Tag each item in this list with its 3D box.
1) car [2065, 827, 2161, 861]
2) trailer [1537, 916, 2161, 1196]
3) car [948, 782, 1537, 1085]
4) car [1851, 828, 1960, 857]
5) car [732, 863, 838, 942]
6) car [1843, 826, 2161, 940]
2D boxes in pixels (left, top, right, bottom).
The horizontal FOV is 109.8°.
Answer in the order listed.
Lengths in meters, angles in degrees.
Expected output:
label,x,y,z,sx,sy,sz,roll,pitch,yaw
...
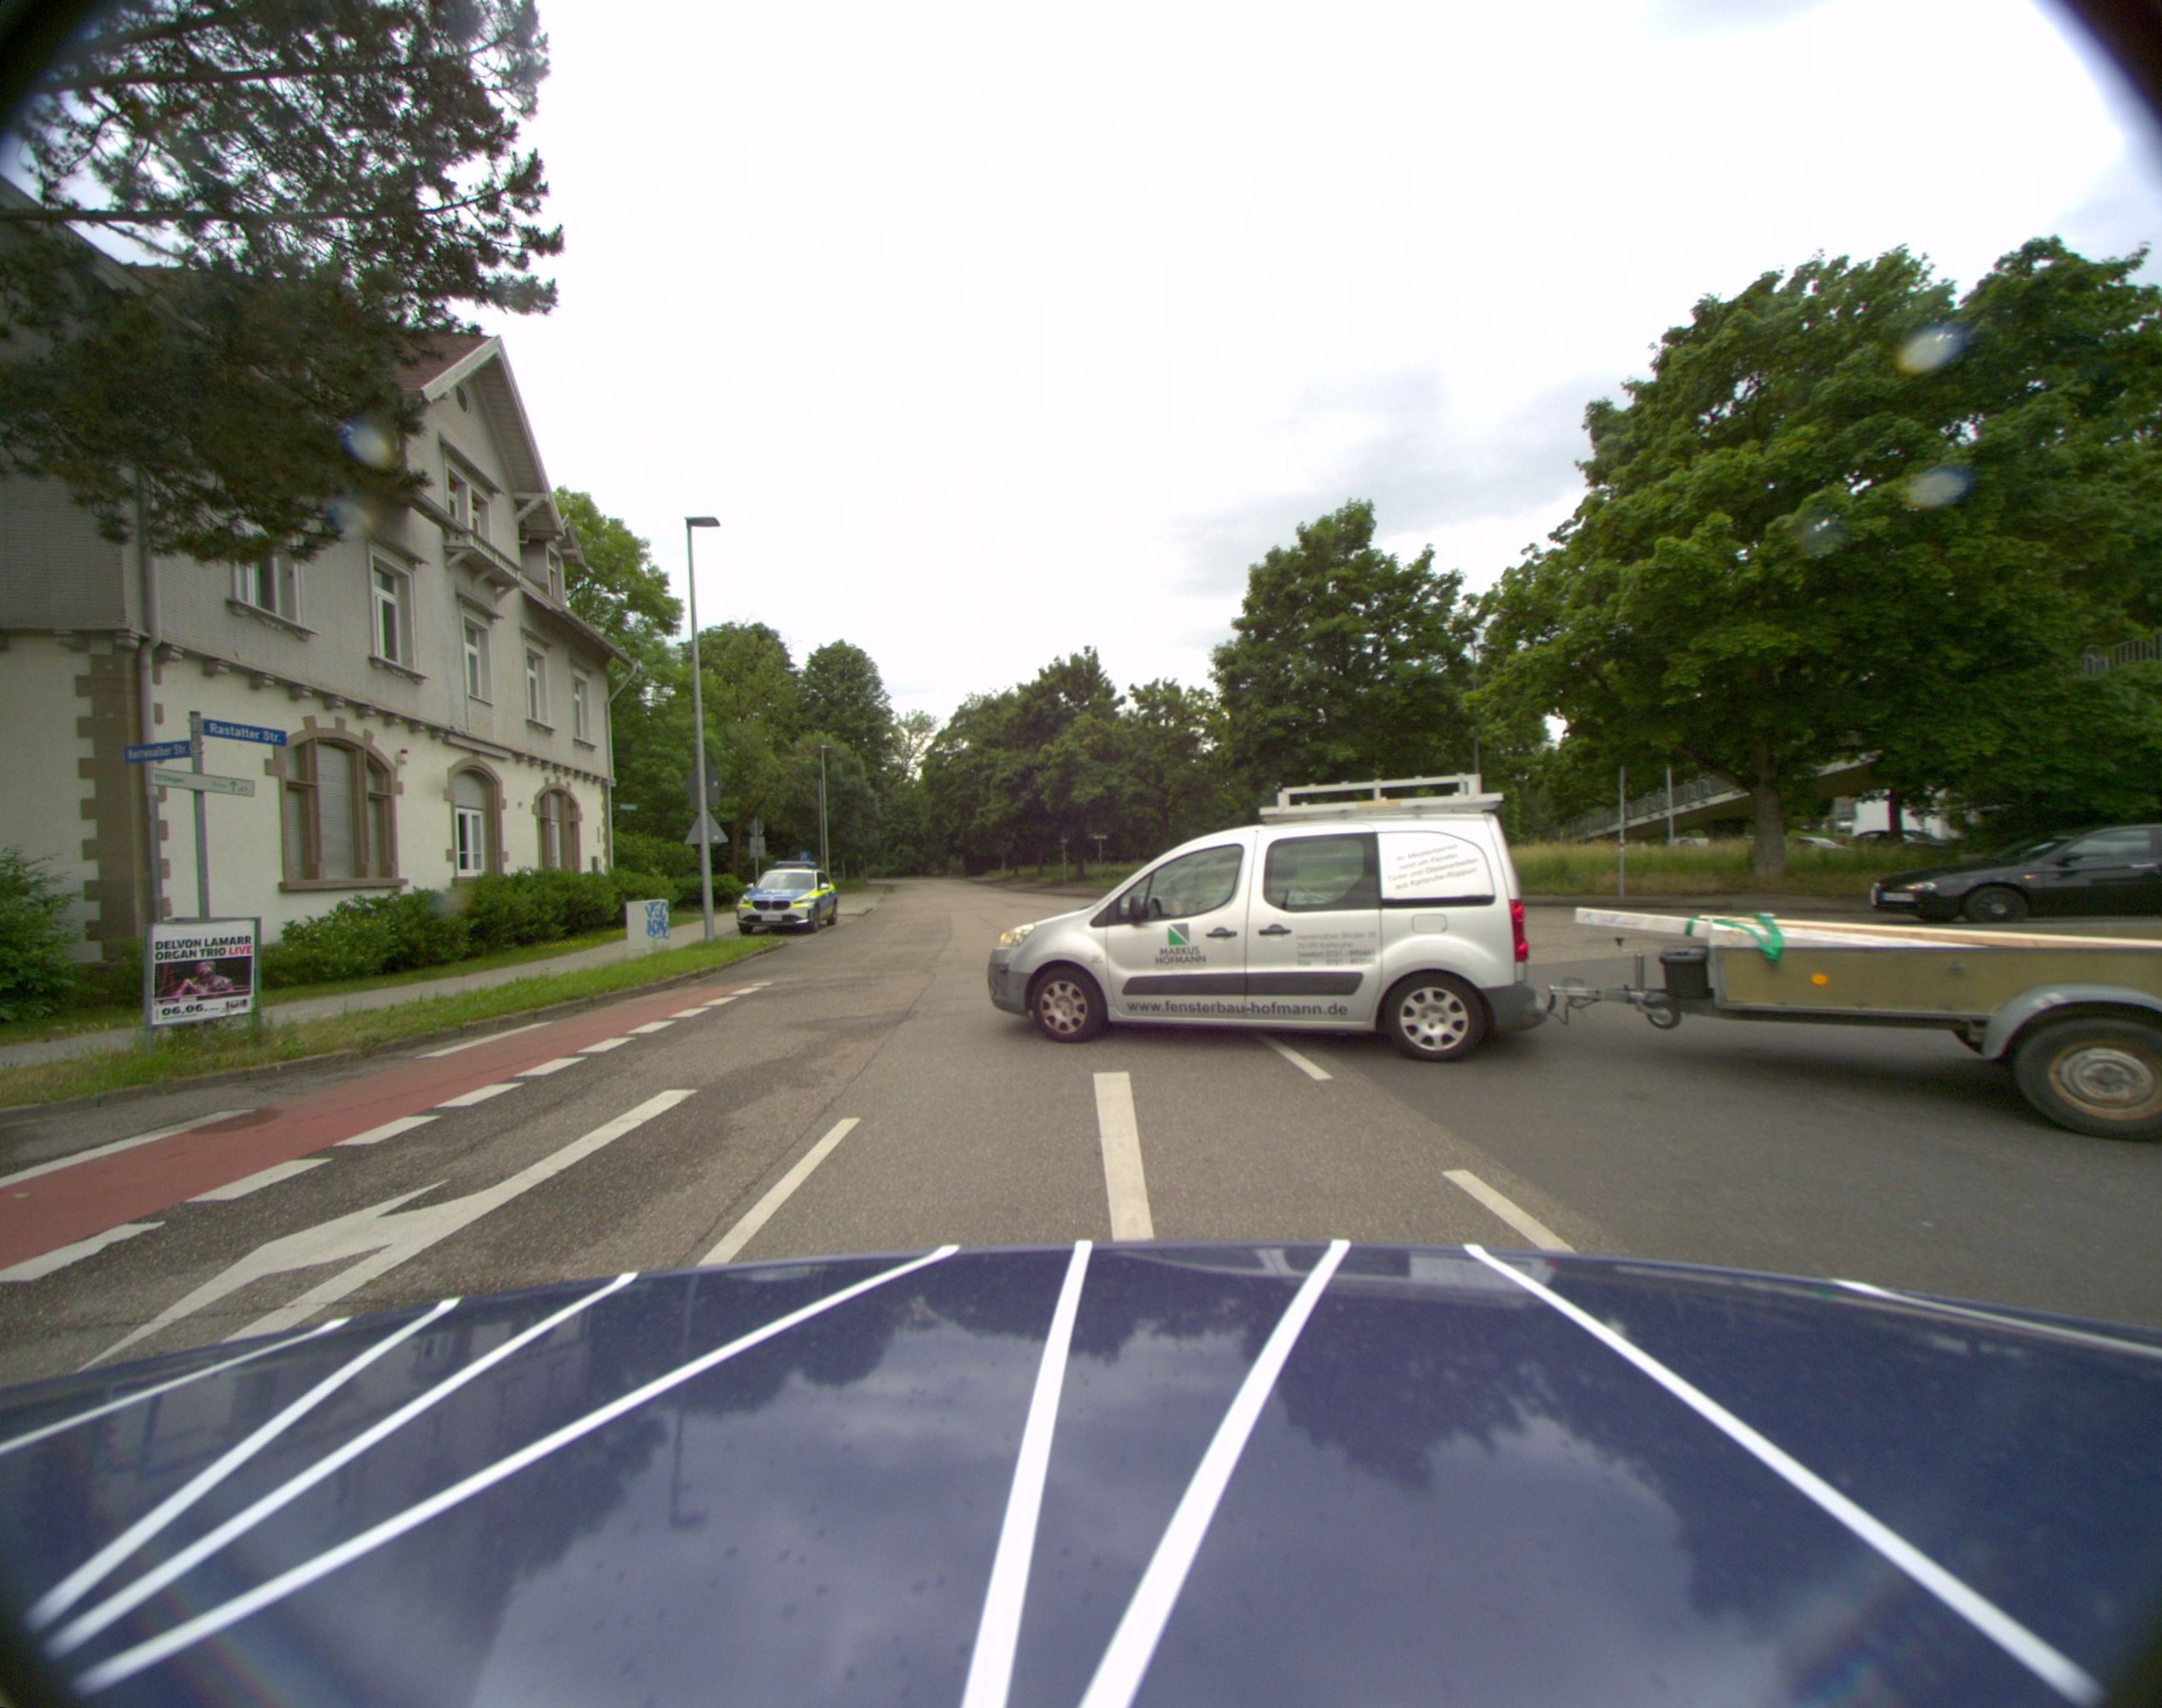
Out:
label,x,y,z,sx,sy,sz,roll,pitch,yaw
car,40.407,-0.391,28.710,1.692,1.231,4.003,-2,0,11
trailer,4.700,0.975,4.268,3.455,0.980,1.575,-1,1,40
car,1.269,0.527,6.445,4.211,1.847,2.098,-2,0,24
car,41.830,-0.572,38.688,1.692,1.343,4.003,-2,0,11
car,-7.612,1.153,19.931,1.937,1.839,3.996,0,0,-12
car,14.283,0.382,10.794,4.529,1.448,1.807,-2,0,29
